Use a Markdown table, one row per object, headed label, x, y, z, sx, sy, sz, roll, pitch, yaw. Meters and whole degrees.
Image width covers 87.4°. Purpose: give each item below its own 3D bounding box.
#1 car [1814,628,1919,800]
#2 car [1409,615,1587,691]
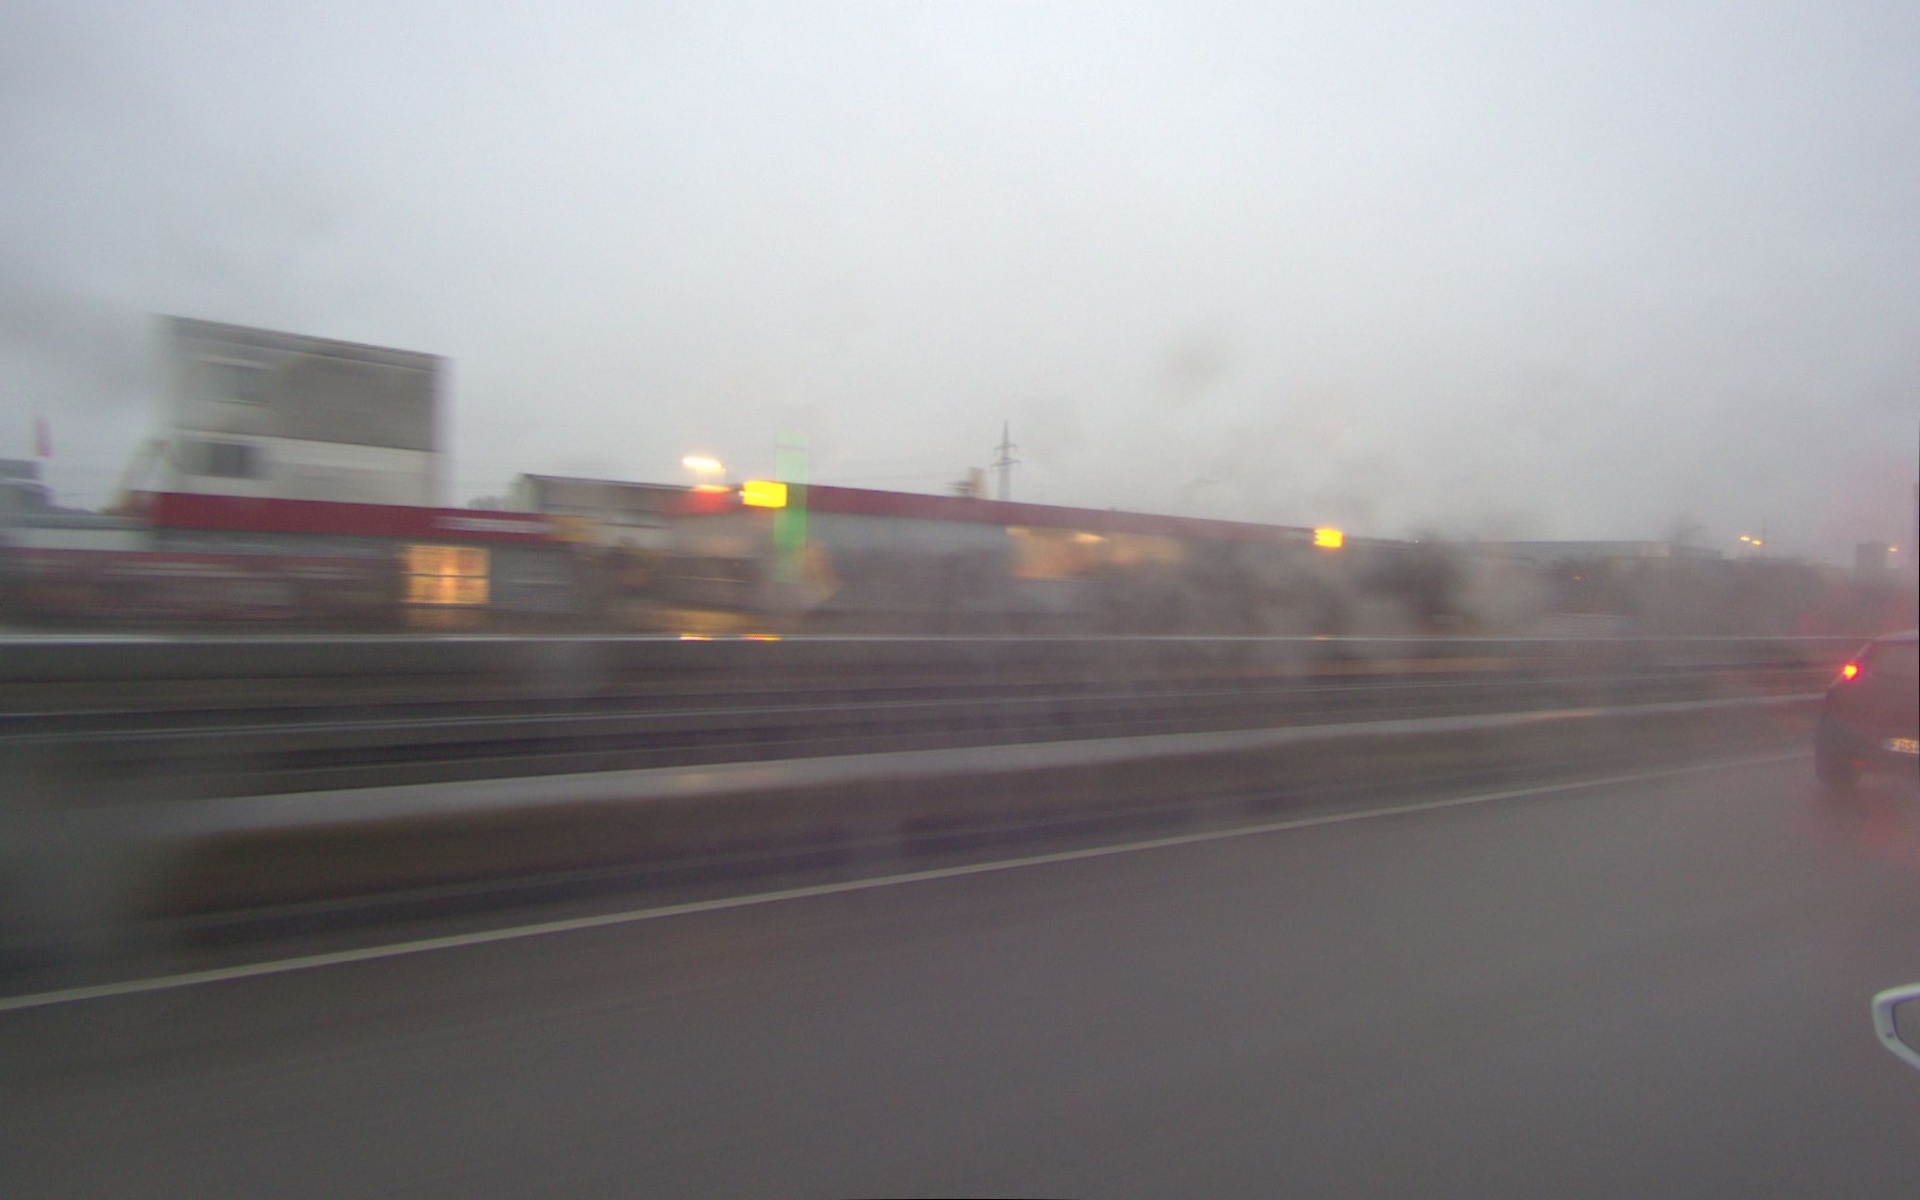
| label | x | y | z | sx | sy | sz | roll | pitch | yaw |
| --- | --- | --- | --- | --- | --- | --- | --- | --- | --- |
| car | 9.840 | 1.030 | 9.422 | 3.955 | 1.411 | 1.617 | 2 | 1 | -32 |
| car | 12.252 | 1.165 | 22.832 | 3.953 | 1.528 | 1.728 | 2 | 1 | -30 |
